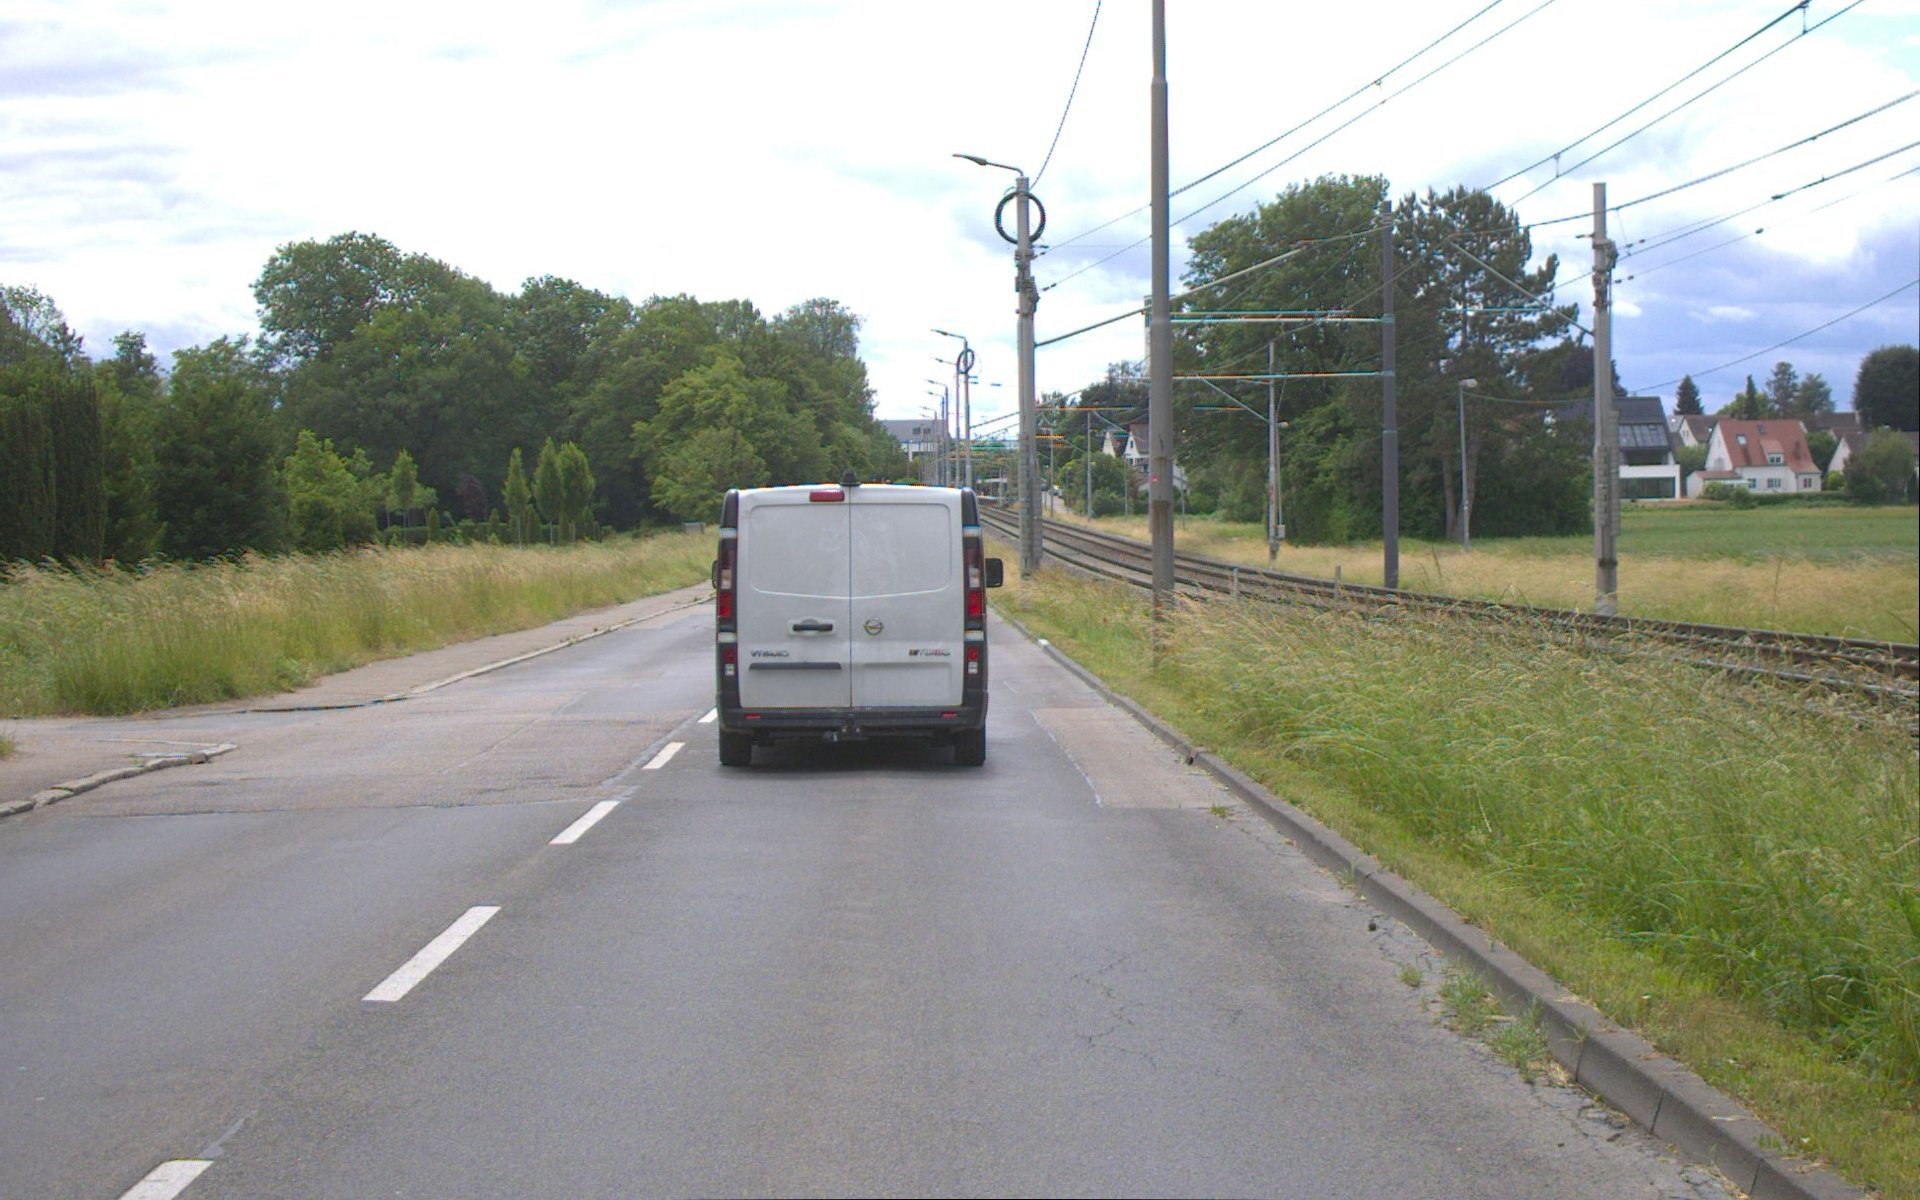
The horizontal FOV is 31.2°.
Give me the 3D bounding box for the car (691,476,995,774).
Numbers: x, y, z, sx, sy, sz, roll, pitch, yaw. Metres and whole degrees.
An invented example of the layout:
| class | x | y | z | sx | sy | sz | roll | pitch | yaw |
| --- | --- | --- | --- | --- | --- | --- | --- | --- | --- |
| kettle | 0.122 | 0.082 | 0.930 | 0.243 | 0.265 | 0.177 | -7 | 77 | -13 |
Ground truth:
| class | x | y | z | sx | sy | sz | roll | pitch | yaw |
| --- | --- | --- | --- | --- | --- | --- | --- | --- | --- |
| car | -0.843 | 0.144 | 24.739 | 1.993 | 1.950 | 4.000 | -1 | 1 | -2 |
